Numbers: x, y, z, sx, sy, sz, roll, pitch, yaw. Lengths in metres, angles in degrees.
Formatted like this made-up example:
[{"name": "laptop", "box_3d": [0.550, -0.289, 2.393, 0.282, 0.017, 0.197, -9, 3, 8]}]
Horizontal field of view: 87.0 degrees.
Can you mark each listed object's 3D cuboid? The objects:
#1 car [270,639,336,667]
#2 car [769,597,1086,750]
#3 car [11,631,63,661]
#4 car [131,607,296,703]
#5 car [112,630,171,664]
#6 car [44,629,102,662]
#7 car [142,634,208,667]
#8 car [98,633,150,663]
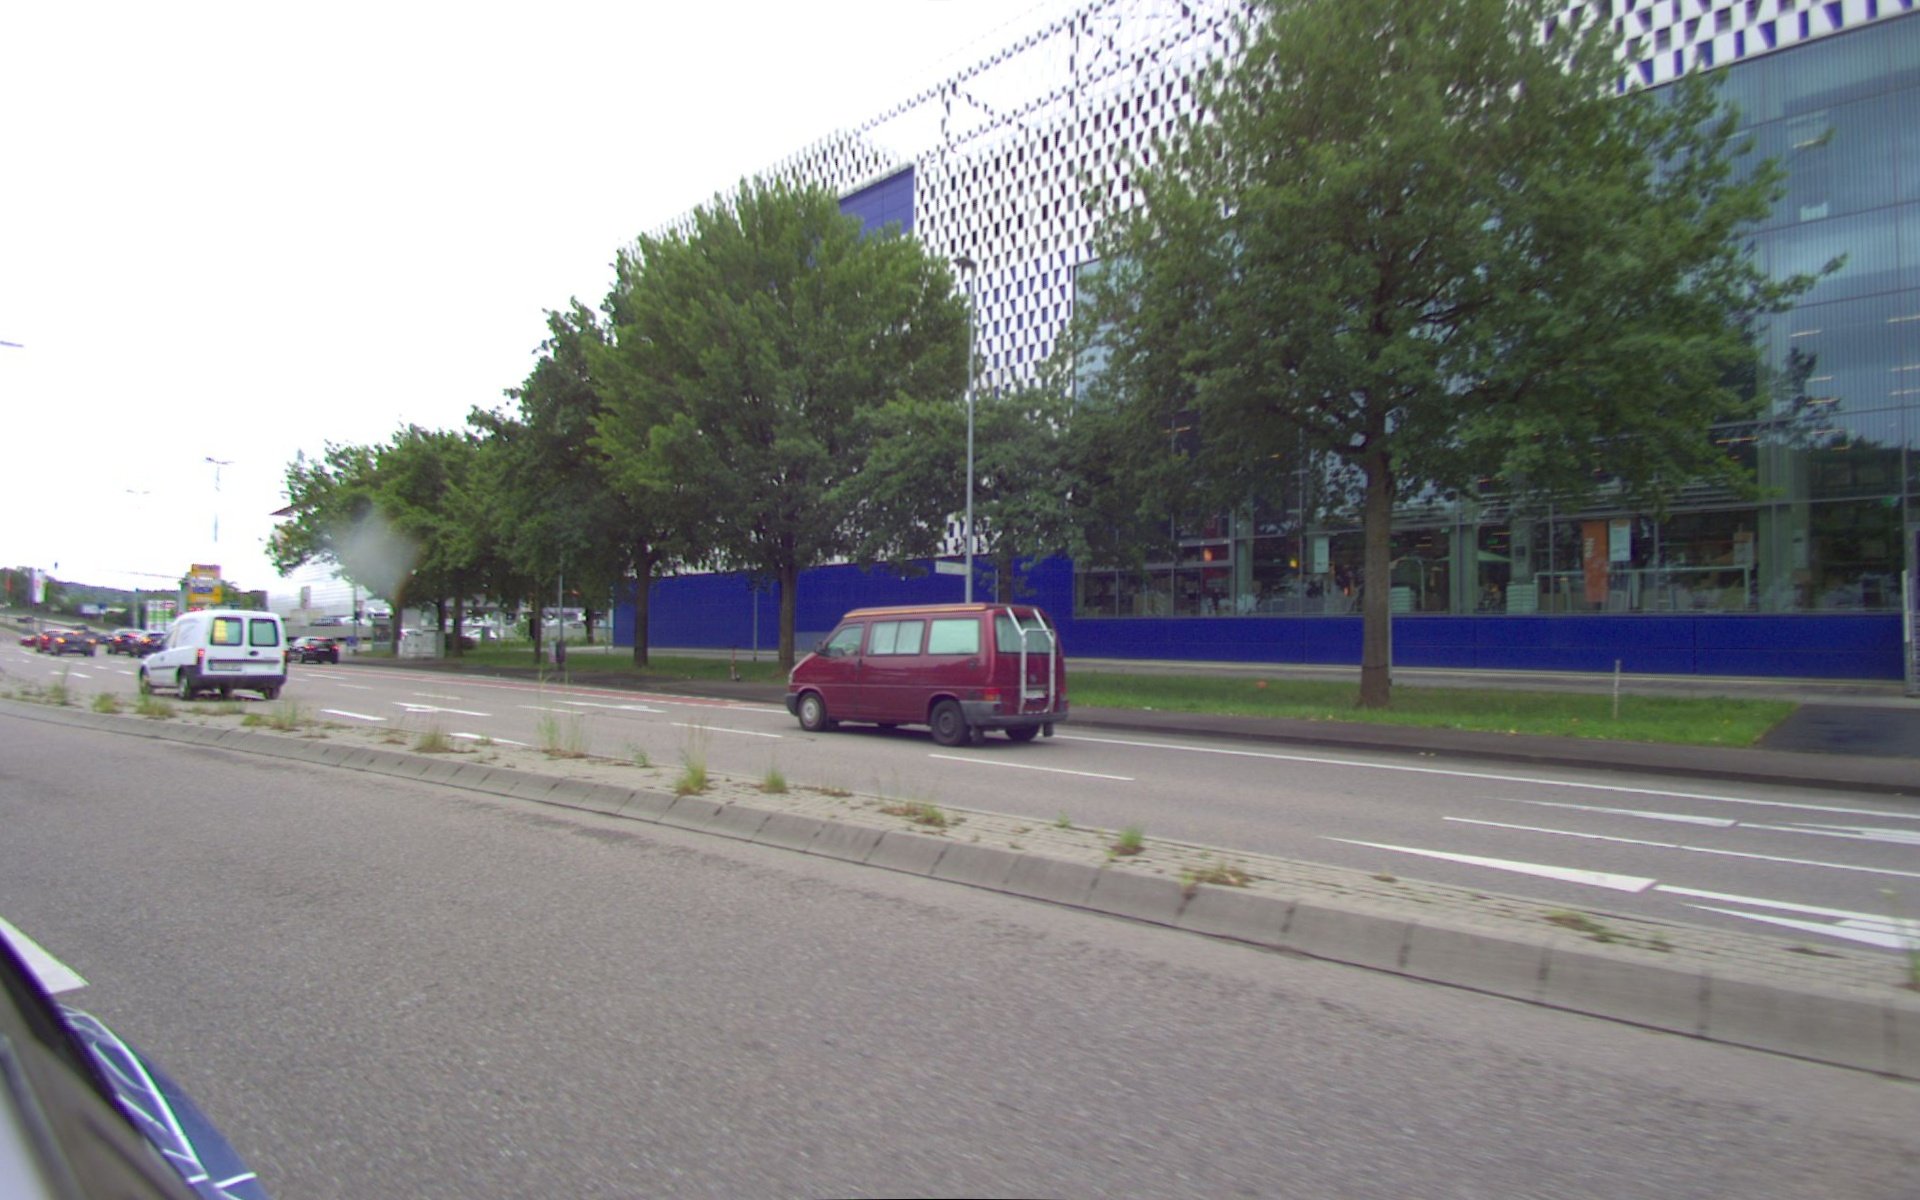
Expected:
[{"name": "car", "box_3d": [-34.942, 2.795, 53.796, 3.975, 1.401, 1.630, -2, -5, 38]}, {"name": "car", "box_3d": [-0.638, 1.032, 15.099, 4.908, 1.939, 1.748, -2, -4, 43]}, {"name": "car", "box_3d": [-57.592, 2.868, 63.133, 3.975, 1.812, 1.630, -2, -5, 38]}, {"name": "car", "box_3d": [-15.469, 1.123, 20.915, 3.974, 1.812, 1.631, -2, -4, 37]}, {"name": "car", "box_3d": [-46.225, 2.637, 57.152, 3.975, 1.812, 1.630, -2, -5, 38]}, {"name": "car", "box_3d": [-50.278, 2.575, 57.349, 3.975, 1.812, 1.630, -2, -5, 38]}, {"name": "car", "box_3d": [-41.417, 2.668, 53.369, 3.975, 1.624, 1.706, -2, -5, 38]}, {"name": "car", "box_3d": [-53.149, 3.047, 64.323, 3.975, 1.812, 1.630, -2, -5, 38]}]
